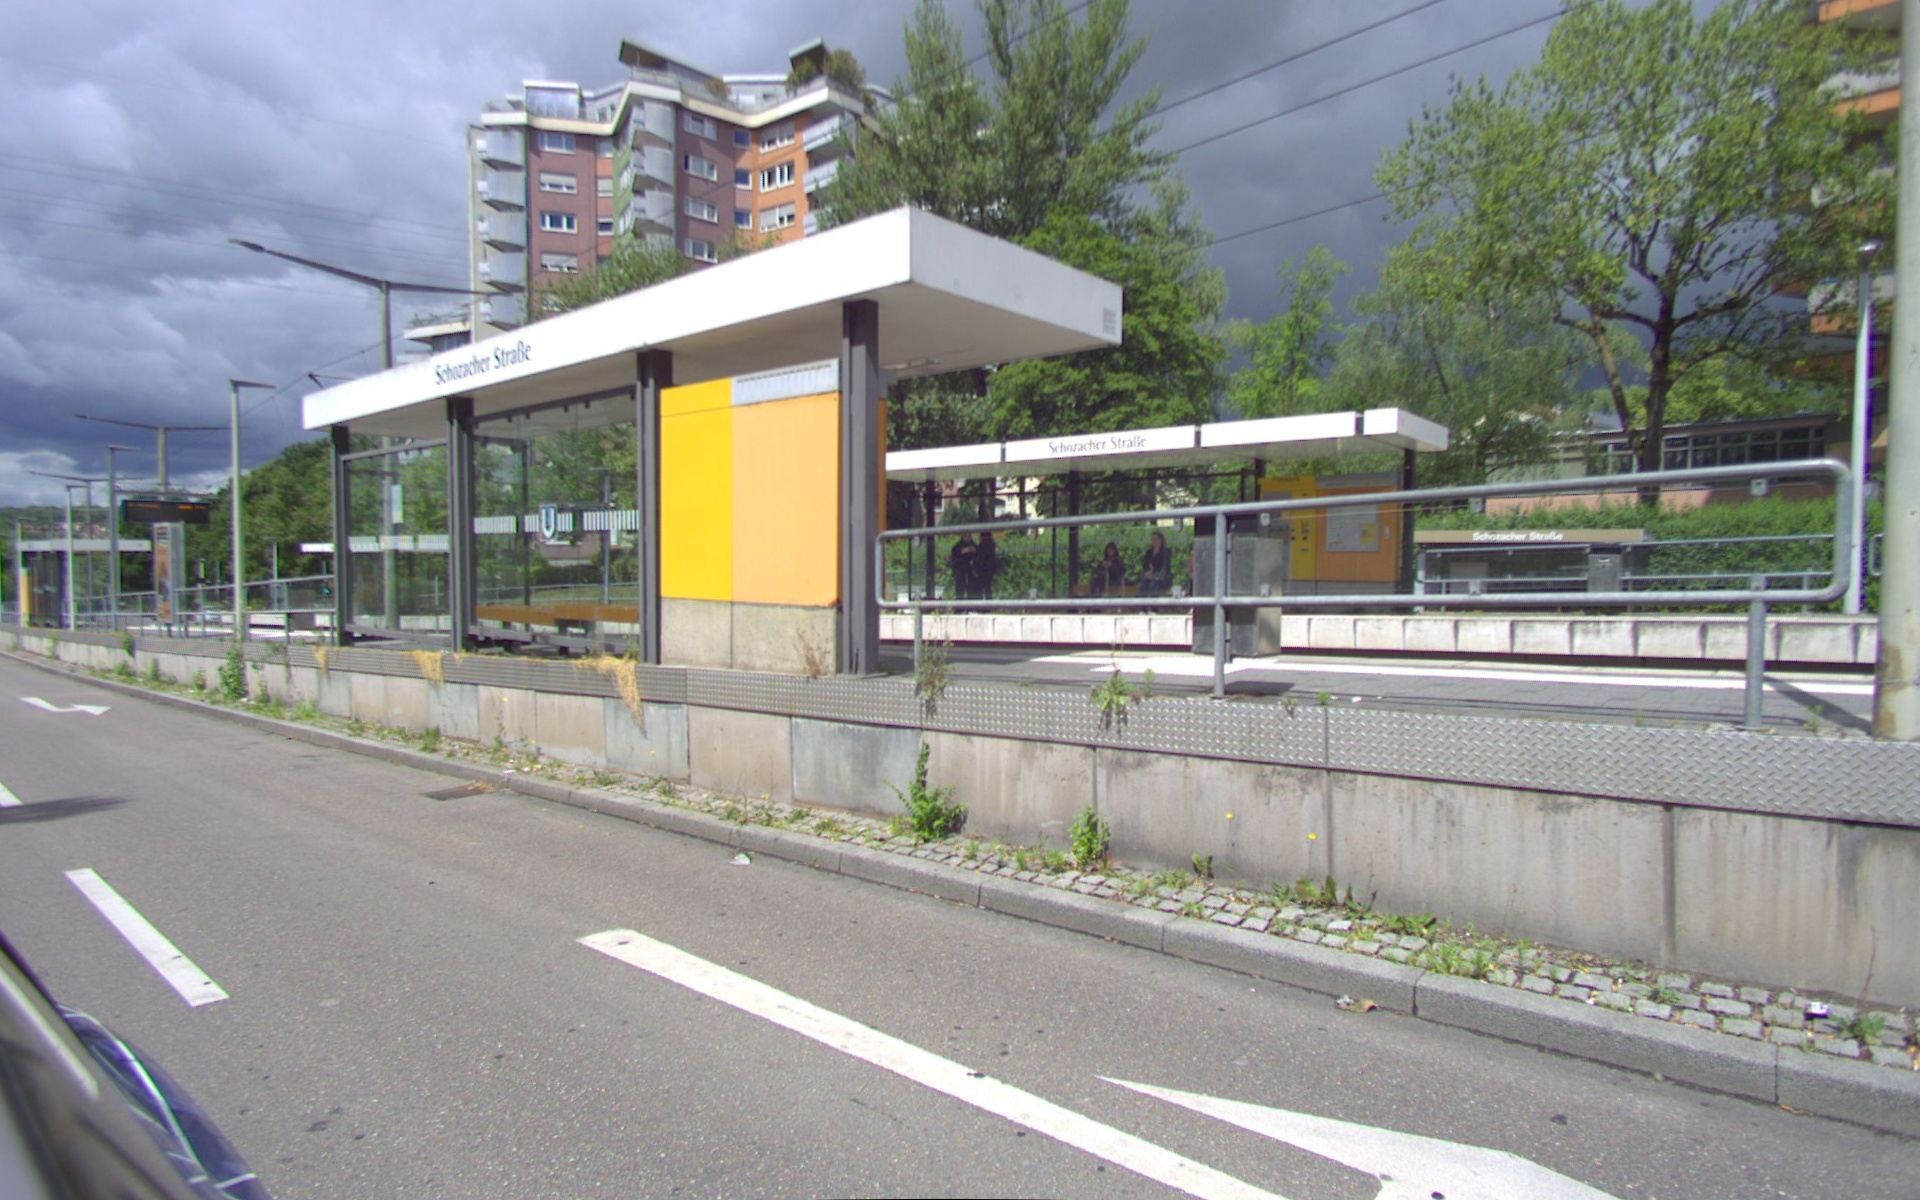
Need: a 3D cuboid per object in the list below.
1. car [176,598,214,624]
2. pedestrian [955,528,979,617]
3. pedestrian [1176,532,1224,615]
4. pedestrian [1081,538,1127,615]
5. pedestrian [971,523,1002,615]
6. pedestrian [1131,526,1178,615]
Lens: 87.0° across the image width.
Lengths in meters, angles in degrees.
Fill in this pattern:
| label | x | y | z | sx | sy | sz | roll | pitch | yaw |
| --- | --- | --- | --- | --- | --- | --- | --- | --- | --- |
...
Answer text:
| label | x | y | z | sx | sy | sz | roll | pitch | yaw |
| --- | --- | --- | --- | --- | --- | --- | --- | --- | --- |
| car | -60.461 | 0.846 | 79.996 | 4.000 | 2.029 | 1.714 | -1 | 0 | 43 |
| pedestrian | 0.133 | -0.533 | 19.849 | 0.421 | 1.726 | 0.353 | -1 | 0 | -1 |
| pedestrian | 3.829 | -0.414 | 16.133 | 0.463 | 1.287 | 0.704 | -1 | 0 | 40 |
| pedestrian | 2.490 | -0.396 | 17.487 | 0.463 | 1.287 | 0.704 | -1 | 0 | 40 |
| pedestrian | 0.500 | -0.580 | 19.280 | 0.544 | 1.726 | 0.386 | -1 | 0 | -2 |
| pedestrian | 3.205 | -0.476 | 16.686 | 0.463 | 1.428 | 0.704 | -1 | 0 | 40 |
